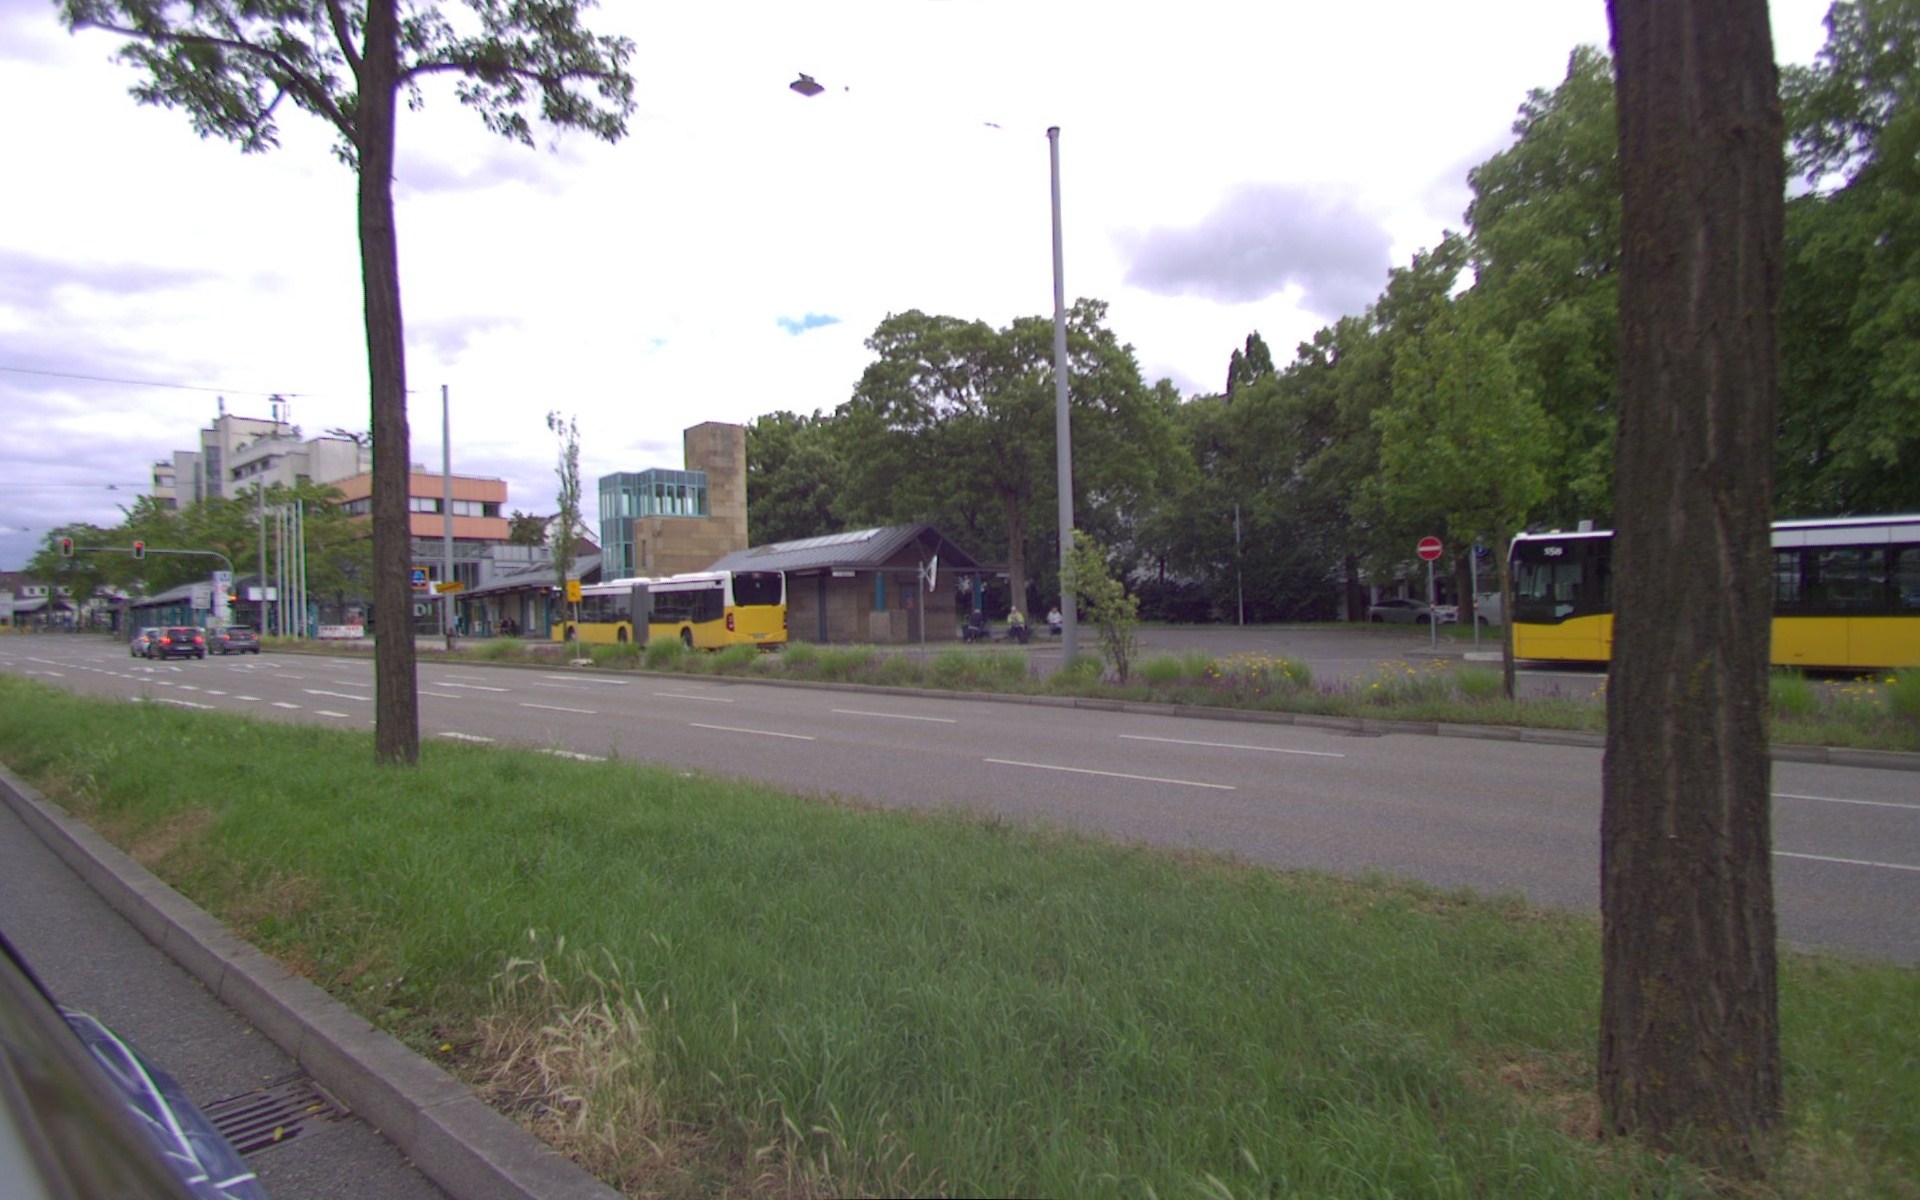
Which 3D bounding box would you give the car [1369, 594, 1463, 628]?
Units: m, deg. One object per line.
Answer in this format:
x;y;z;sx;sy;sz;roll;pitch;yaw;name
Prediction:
23.683;0.587;52.689;1.967;1.697;4.009;0;-1;-36;car

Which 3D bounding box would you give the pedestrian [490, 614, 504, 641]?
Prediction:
-28.915;1.703;63.211;0.612;1.662;0.658;0;-1;-45;pedestrian

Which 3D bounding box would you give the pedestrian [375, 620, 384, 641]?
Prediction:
-45.414;2.389;79.195;0.522;1.559;0.756;-1;-1;-34;pedestrian

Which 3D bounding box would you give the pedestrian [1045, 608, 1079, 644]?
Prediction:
3.685;0.950;36.506;0.857;1.264;0.883;-2;-2;41;pedestrian

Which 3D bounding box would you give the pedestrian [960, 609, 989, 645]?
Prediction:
0.527;0.990;37.064;0.886;1.264;0.855;-1;-1;12;pedestrian

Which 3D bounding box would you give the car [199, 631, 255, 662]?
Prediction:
-38.939;2.437;53.727;1.794;1.519;4.002;0;-1;-45;car

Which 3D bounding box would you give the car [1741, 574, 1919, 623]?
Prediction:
33.123;-0.007;38.195;1.967;1.661;5.416;0;-2;-34;car

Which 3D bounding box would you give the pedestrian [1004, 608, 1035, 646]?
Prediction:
2.098;0.949;35.669;0.888;1.300;0.853;-2;-1;17;pedestrian

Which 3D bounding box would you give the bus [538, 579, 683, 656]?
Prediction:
-16.445;0.854;47.122;2.743;3.155;9.448;-3;0;-42;bus

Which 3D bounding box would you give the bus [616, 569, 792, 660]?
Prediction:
-10.439;0.610;40.353;2.775;3.155;9.313;-3;1;-41;bus

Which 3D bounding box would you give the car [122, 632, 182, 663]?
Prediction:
-41.075;2.436;51.424;3.788;1.476;1.727;-3;-2;42;car

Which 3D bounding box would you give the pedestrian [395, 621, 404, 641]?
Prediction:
-44.597;2.496;80.565;0.380;1.559;0.482;-2;-1;17;pedestrian

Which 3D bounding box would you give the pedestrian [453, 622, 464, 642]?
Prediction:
-36.992;2.363;74.681;0.582;1.472;0.995;-1;-1;-34;pedestrian

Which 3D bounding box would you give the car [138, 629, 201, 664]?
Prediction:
-36.890;2.138;47.211;3.767;1.519;1.641;-2;-1;41;car

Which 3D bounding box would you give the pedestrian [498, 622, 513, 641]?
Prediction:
-28.011;1.927;62.371;0.612;1.129;0.658;0;-1;-45;pedestrian

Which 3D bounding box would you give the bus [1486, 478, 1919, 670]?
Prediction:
16.092;-0.410;18.835;10.738;3.187;3.049;-2;-1;44;bus

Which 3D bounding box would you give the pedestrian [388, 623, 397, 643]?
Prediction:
-44.703;2.623;79.701;0.382;1.559;0.480;-2;-1;32;pedestrian

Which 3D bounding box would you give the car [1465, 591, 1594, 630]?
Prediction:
26.863;0.522;47.936;1.967;1.737;4.927;0;-1;-36;car
